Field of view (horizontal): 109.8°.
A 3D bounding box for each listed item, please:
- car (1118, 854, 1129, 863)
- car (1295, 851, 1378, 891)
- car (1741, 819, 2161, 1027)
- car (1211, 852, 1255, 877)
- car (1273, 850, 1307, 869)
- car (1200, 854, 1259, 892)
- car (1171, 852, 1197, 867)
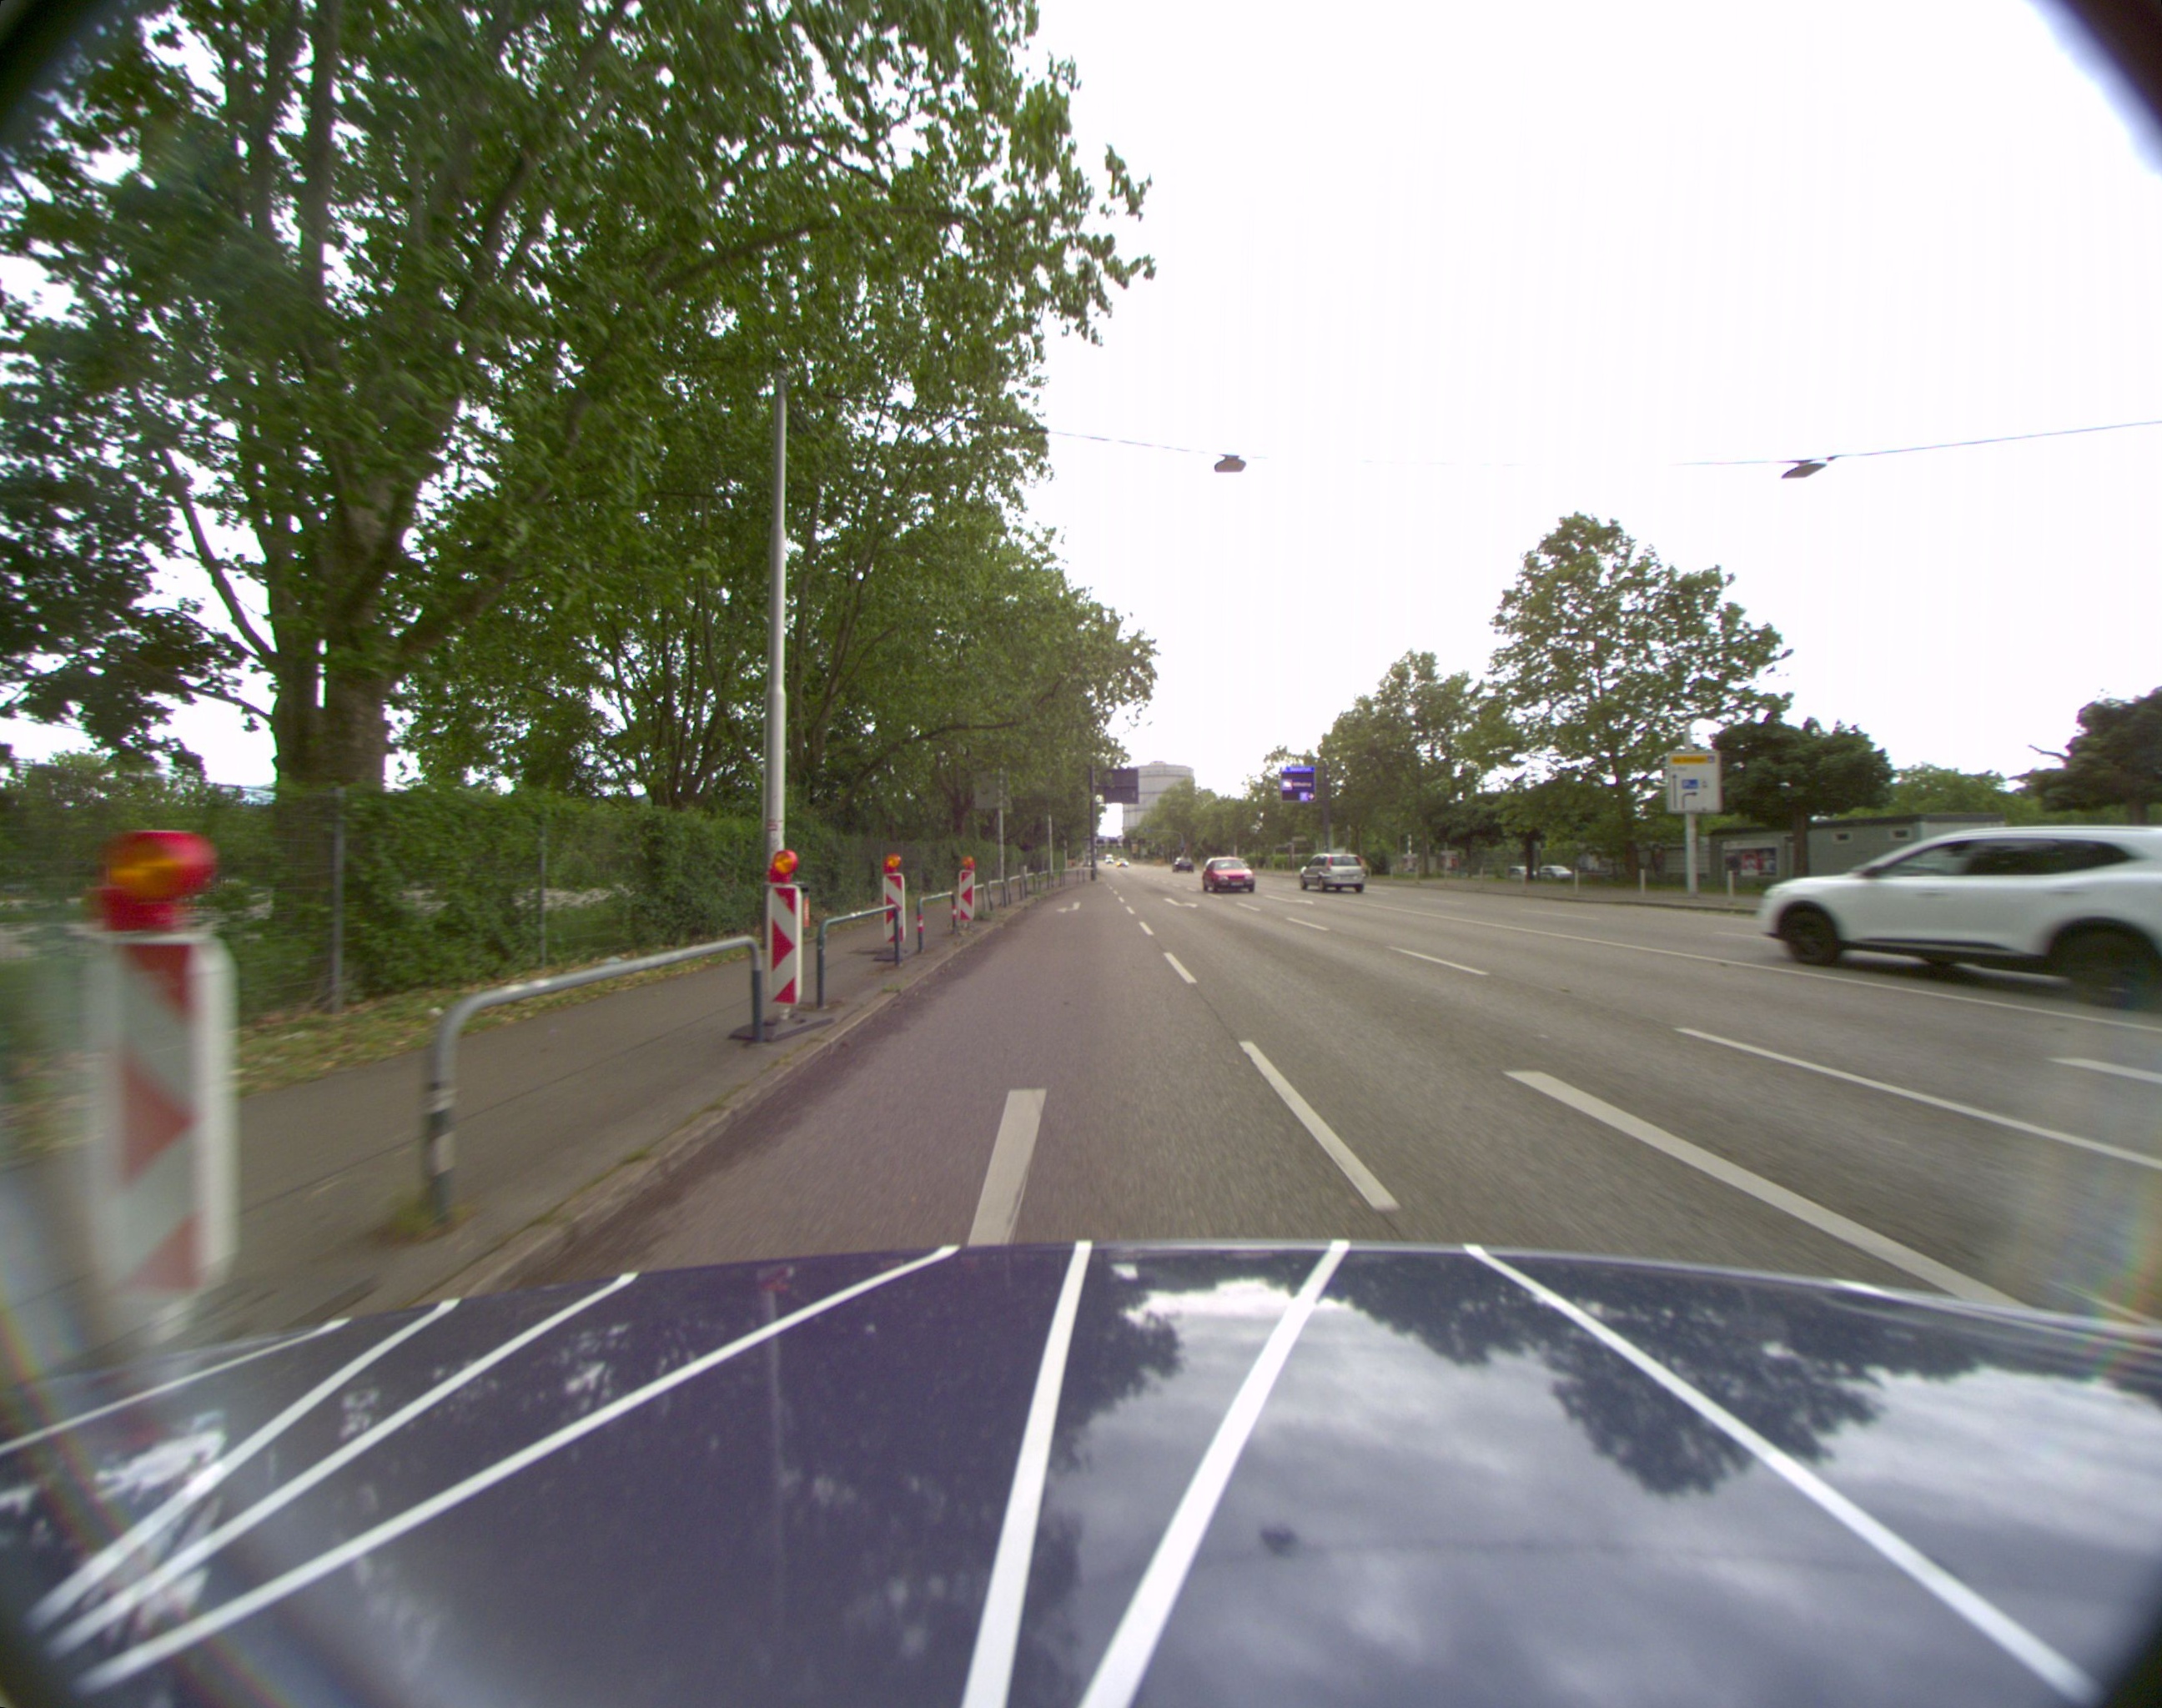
[{"bbox_3d":[7.527,0.751,134.821,1.799,1.501,4.000,-1,0,1],"label":"car"},{"bbox_3d":[10.351,0.652,31.110,1.999,1.516,3.999,0,0,-1],"label":"car"},{"bbox_3d":[9.988,0.567,8.028,1.999,1.734,4.594,0,0,-1],"label":"car"},{"bbox_3d":[9.897,0.669,49.733,1.998,1.521,4.385,-1,0,0],"label":"car"},{"bbox_3d":[23.650,0.623,86.110,2.393,2.002,4.634,0,0,-4],"label":"car"},{"bbox_3d":[6.178,0.736,31.987,1.833,1.443,4.077,-2,0,3],"label":"car"},{"bbox_3d":[10.643,0.558,78.582,1.999,1.521,4.725,0,0,-1],"label":"car"}]
